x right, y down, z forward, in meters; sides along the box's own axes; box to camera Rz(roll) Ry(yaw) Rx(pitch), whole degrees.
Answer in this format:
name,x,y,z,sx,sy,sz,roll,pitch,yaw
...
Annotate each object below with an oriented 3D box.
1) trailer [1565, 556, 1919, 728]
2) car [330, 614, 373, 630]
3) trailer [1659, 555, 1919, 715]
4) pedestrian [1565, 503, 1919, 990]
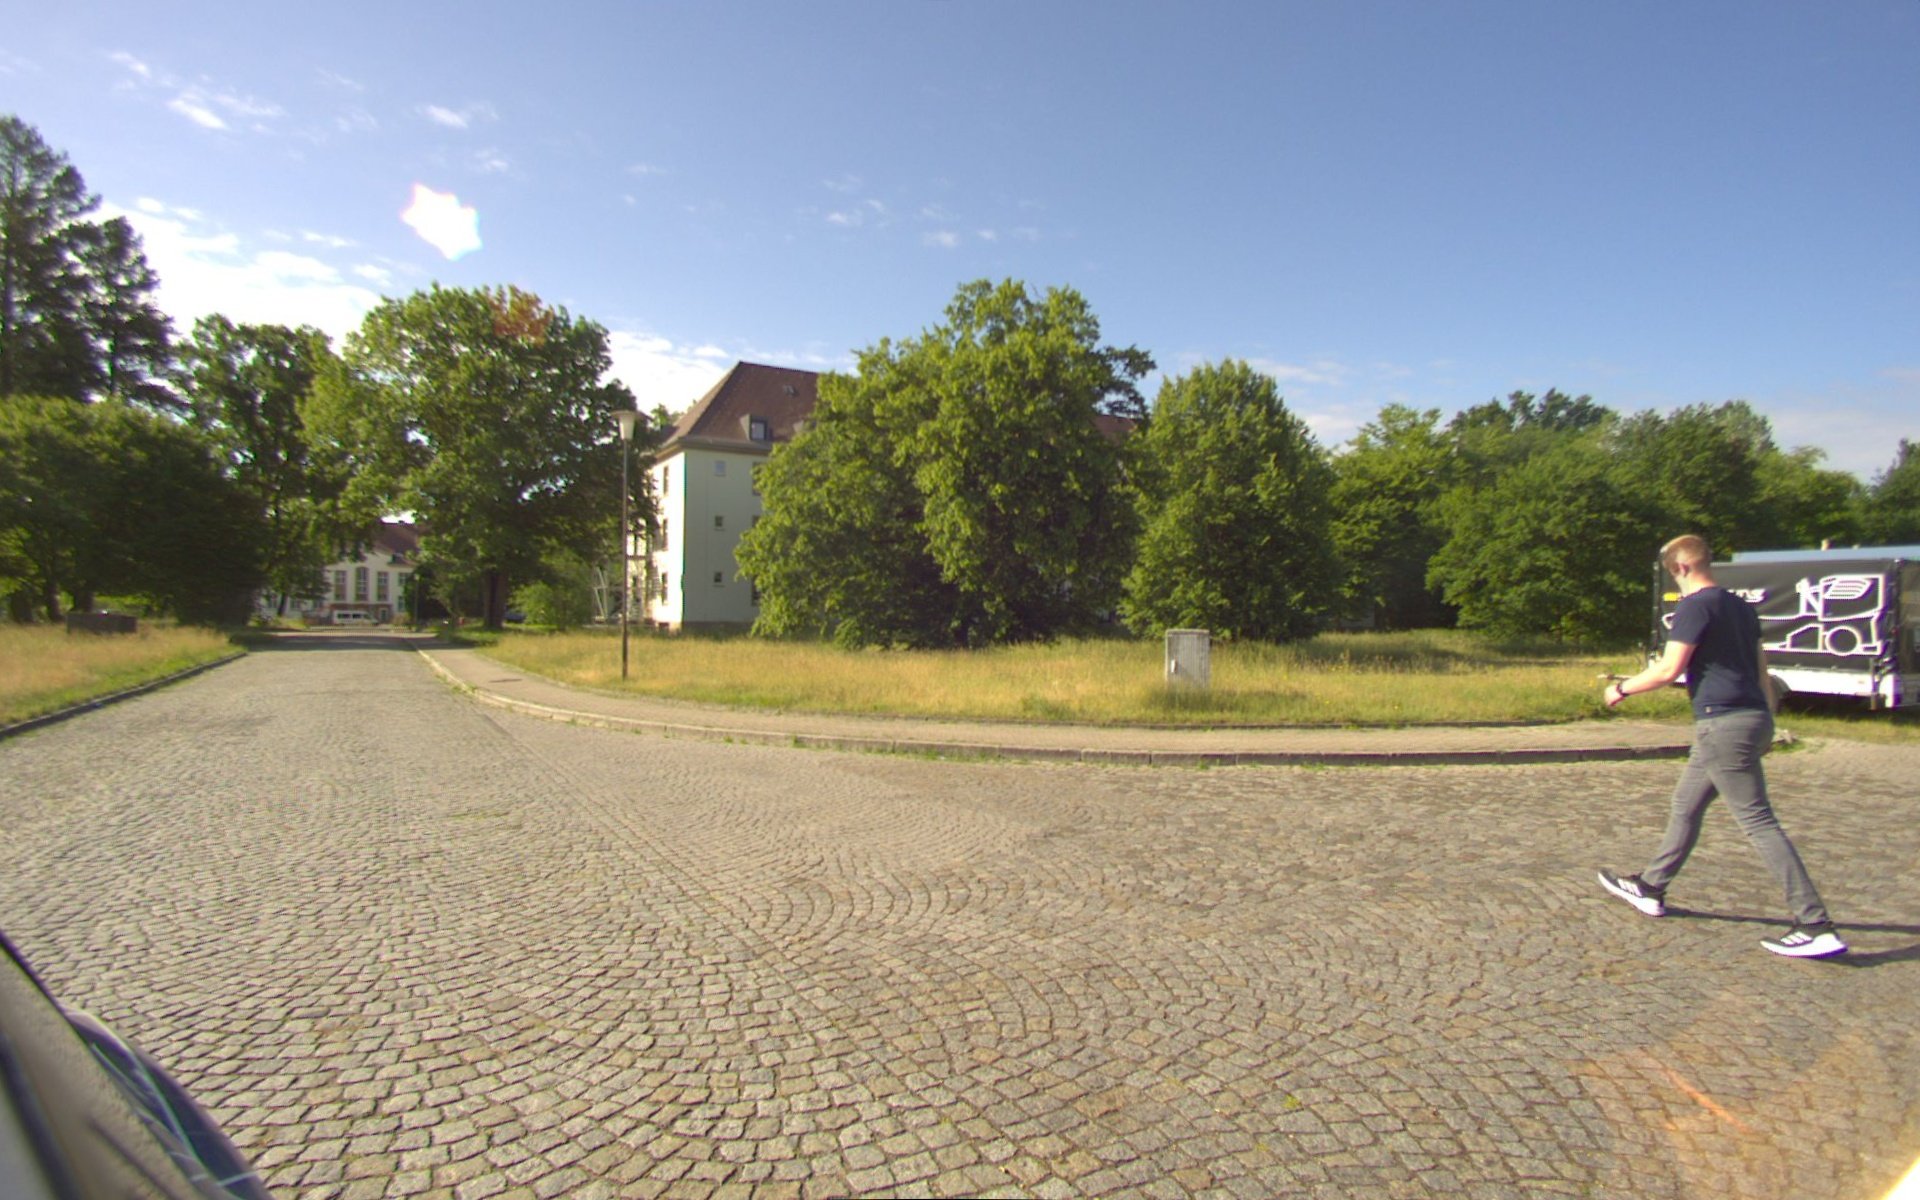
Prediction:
name,x,y,z,sx,sy,sz,roll,pitch,yaw
trailer,12.360,0.569,15.908,1.979,2.290,4.482,1,0,-31
car,-80.669,2.951,134.163,4.790,2.111,2.006,1,-2,-31
trailer,14.655,0.546,16.615,1.911,2.409,4.867,1,-1,-36
pedestrian,3.630,0.592,4.714,0.786,1.929,1.146,1,-2,-30
